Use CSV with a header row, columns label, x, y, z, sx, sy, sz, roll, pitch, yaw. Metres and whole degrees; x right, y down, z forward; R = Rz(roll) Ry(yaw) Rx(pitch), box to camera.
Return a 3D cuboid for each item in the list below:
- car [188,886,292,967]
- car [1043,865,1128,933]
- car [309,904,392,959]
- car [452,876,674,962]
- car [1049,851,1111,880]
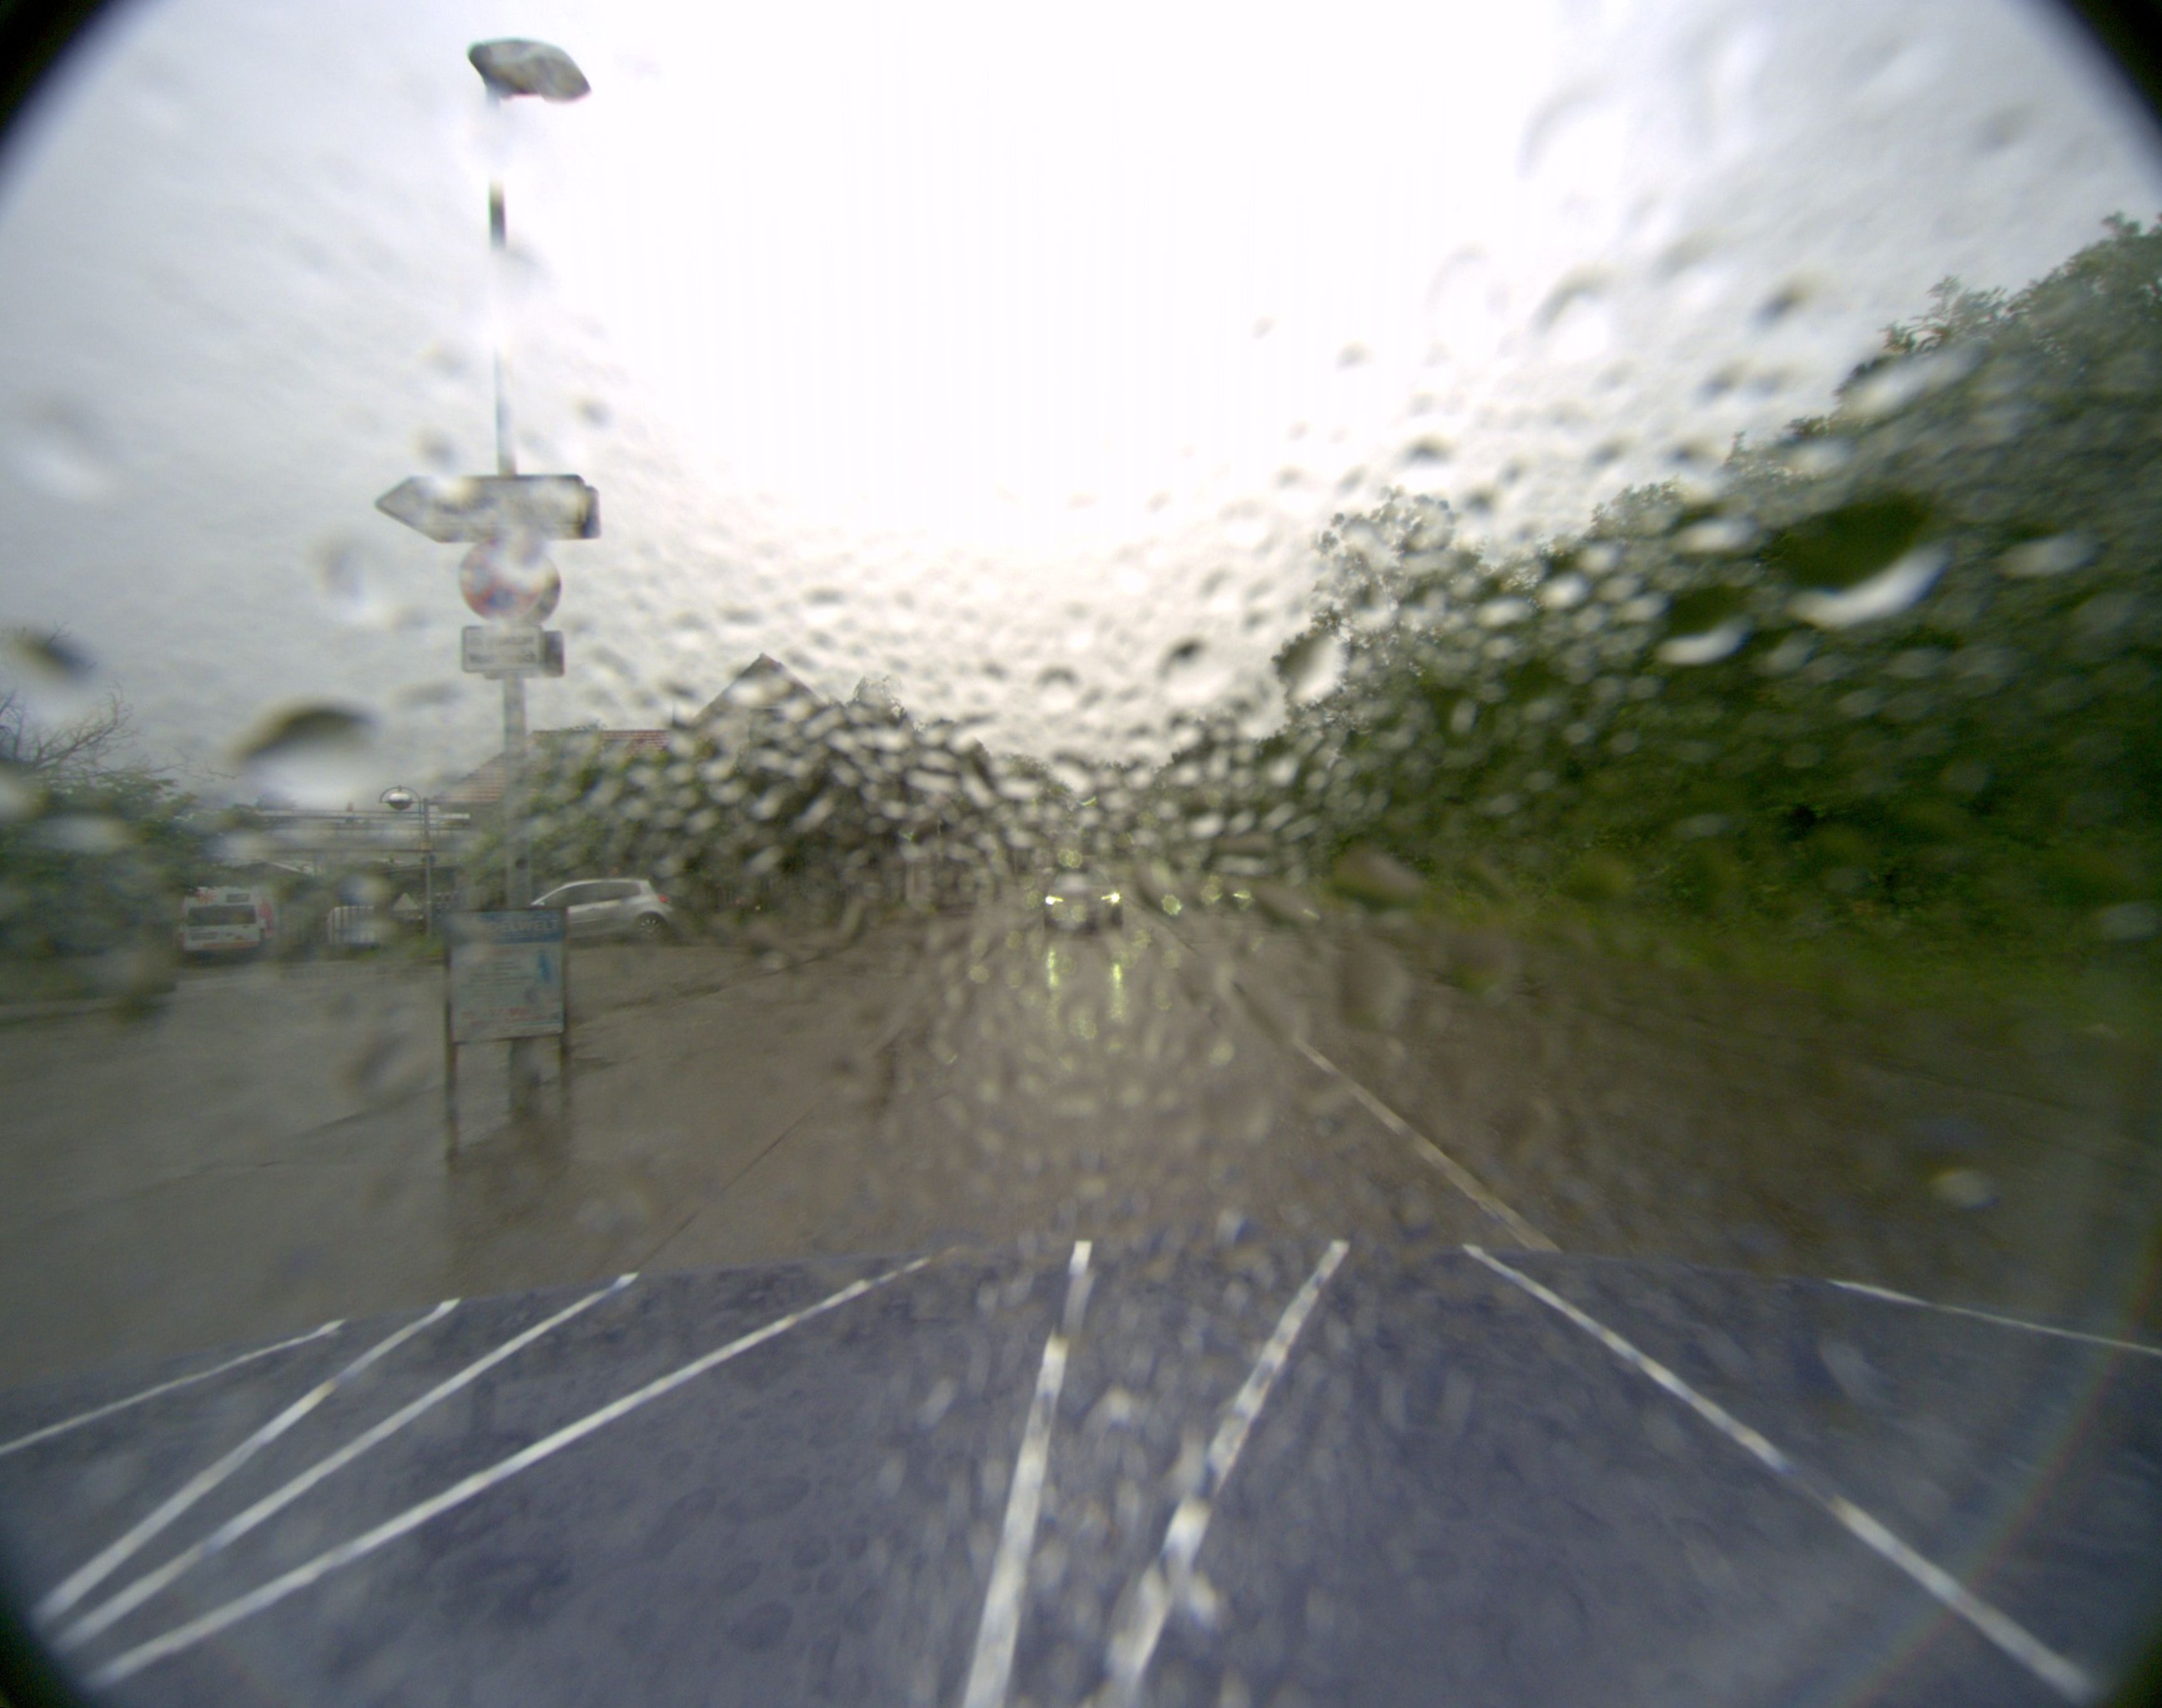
label,x,y,z,sx,sy,sz,roll,pitch,yaw
car,-29.386,2.439,26.687,2.004,2.497,3.989,-1,-1,-42
car,0.106,1.003,18.682,1.767,1.316,4.548,-2,0,0
car,-27.342,2.840,28.559,1.937,1.674,3.989,-3,1,-40
car,-11.408,1.356,17.008,3.862,1.523,1.715,-3,1,-32
car,-0.101,0.802,52.751,3.944,1.853,1.841,-2,1,41
